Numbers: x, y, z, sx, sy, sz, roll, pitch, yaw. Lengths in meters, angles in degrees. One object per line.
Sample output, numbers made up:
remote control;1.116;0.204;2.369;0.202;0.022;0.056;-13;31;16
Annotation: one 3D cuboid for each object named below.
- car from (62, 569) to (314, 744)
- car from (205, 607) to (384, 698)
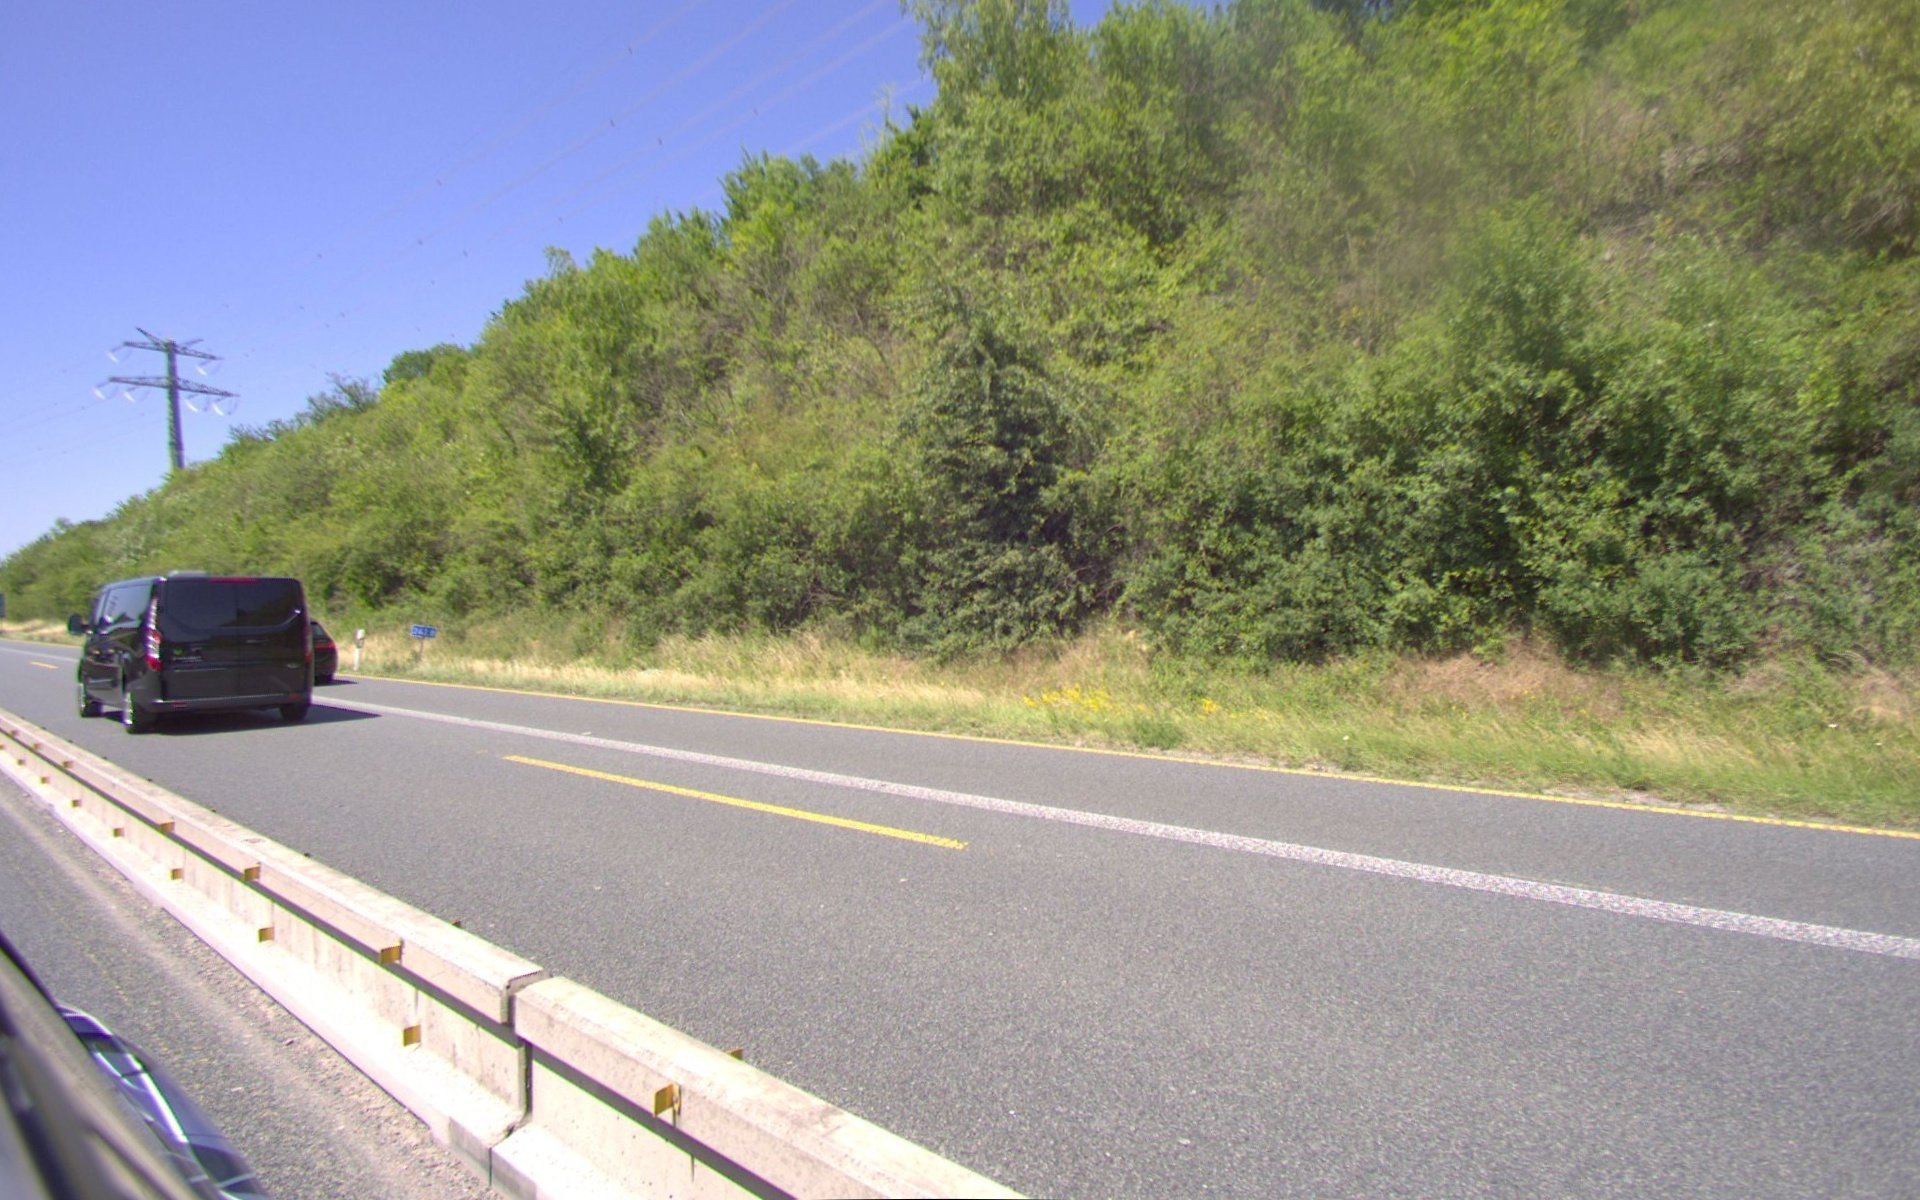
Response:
car;-10.829;0.683;14.048;4.816;2.029;1.871;-1;0;42
car;-13.035;0.958;19.706;4.529;1.536;1.774;-1;0;42
